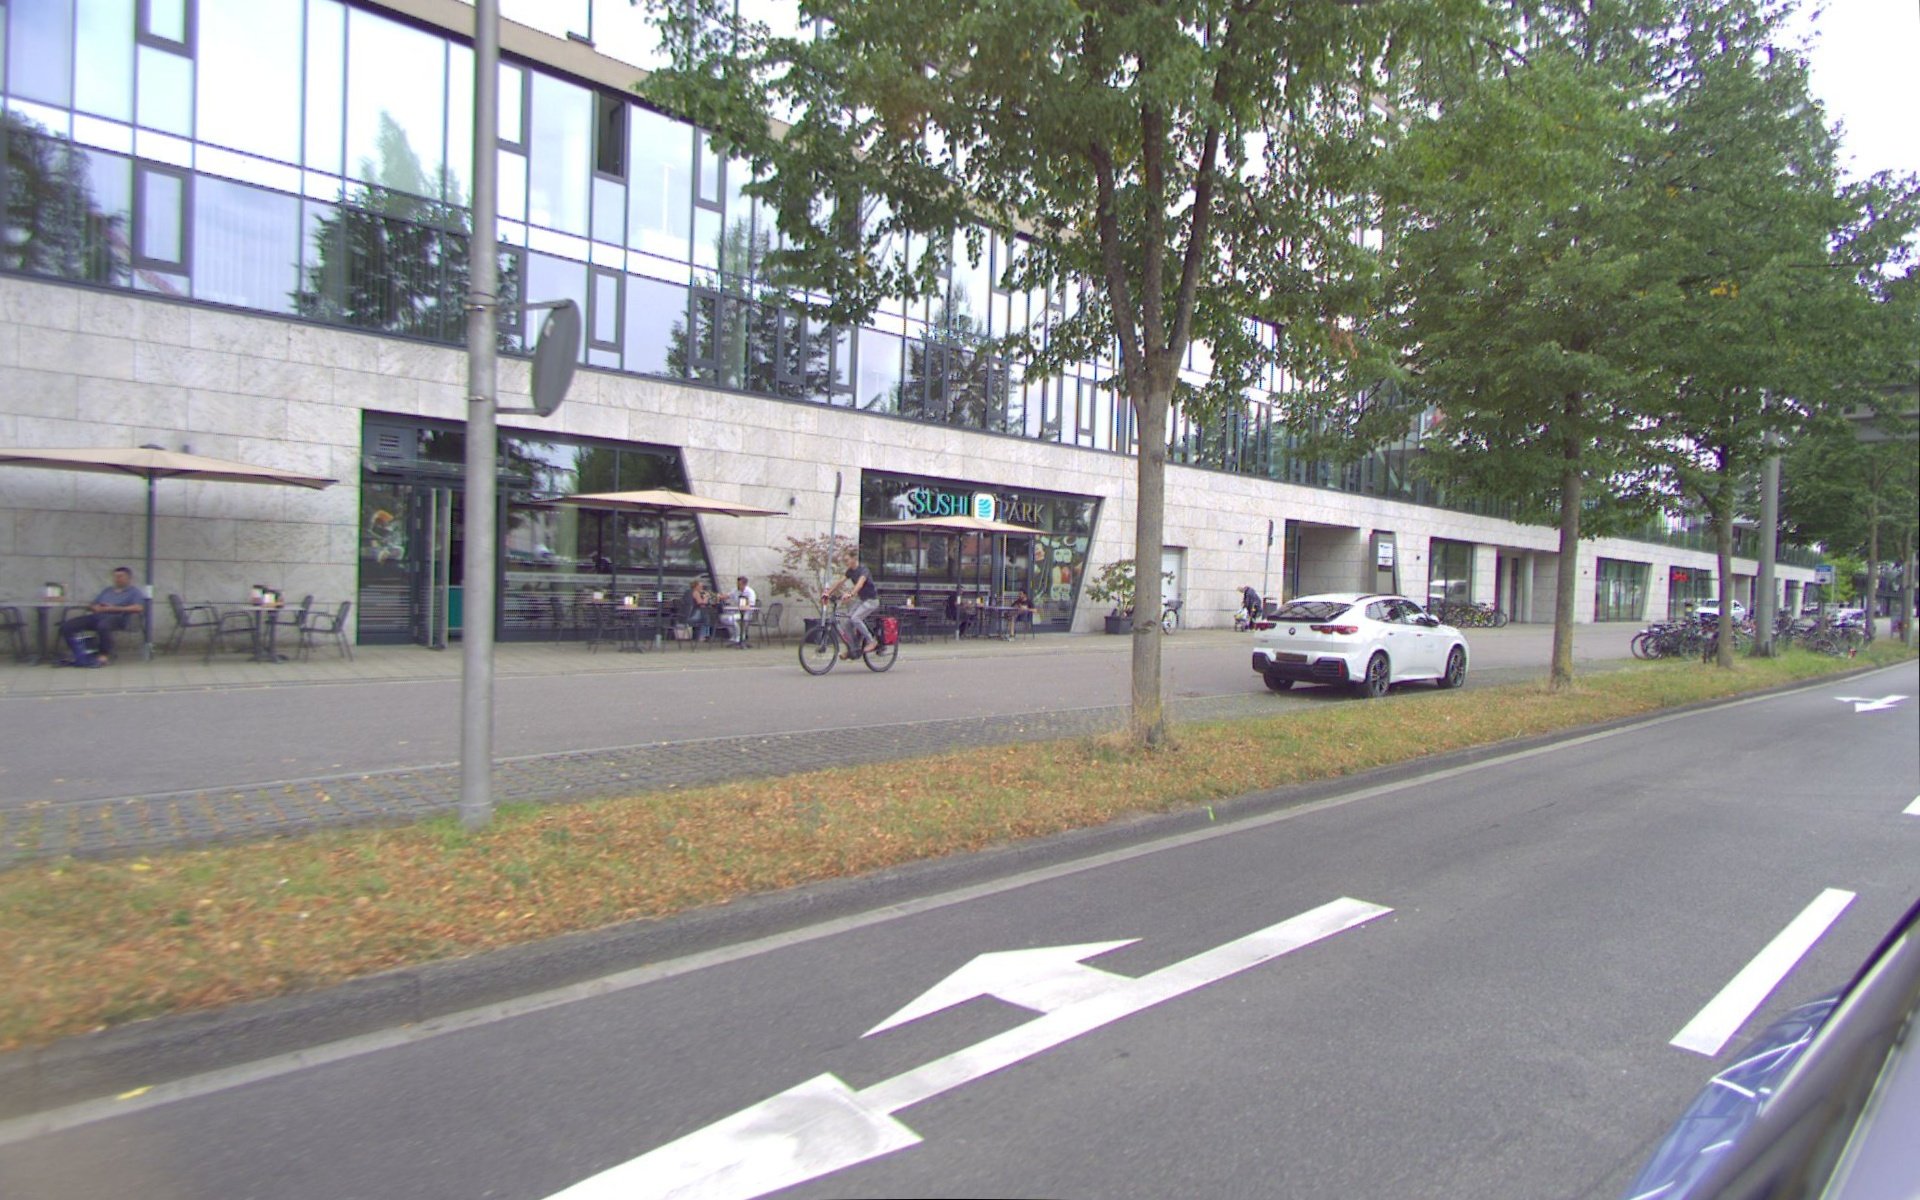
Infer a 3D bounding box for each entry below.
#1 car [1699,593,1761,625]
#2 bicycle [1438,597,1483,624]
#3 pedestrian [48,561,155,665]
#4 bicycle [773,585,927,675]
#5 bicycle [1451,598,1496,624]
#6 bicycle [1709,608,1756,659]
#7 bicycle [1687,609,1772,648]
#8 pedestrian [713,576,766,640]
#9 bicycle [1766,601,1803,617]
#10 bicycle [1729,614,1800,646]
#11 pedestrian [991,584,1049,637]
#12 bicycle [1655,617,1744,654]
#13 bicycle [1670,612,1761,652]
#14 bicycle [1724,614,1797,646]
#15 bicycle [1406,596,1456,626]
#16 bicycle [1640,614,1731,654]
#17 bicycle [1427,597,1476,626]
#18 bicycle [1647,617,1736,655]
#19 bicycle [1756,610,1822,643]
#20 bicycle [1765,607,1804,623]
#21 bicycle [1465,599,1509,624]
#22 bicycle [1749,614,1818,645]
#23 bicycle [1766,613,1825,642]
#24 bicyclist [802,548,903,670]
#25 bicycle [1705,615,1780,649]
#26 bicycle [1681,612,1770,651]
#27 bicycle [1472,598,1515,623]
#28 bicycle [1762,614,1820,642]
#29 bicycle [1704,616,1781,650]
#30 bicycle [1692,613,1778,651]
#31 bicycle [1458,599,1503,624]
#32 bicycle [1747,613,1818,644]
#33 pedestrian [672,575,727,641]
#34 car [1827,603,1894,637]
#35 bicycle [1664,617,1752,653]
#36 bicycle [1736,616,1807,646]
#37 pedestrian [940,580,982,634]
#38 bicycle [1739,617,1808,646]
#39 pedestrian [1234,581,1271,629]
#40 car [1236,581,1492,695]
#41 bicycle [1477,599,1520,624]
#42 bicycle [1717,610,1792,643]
[{"bbox_3d":[42.936,0.508,56.390,4.165,1.607,1.862,1,4,-41],"label":"car"},{"bbox_3d":[20.059,0.412,40.571,0.524,1.039,1.531,1,2,-43],"label":"bicycle"},{"bbox_3d":[-10.785,0.145,12.751,0.932,1.243,0.901,1,1,-36],"label":"pedestrian"},{"bbox_3d":[-1.680,0.432,15.731,2.229,1.250,0.904,1,4,-42],"label":"bicycle"},{"bbox_3d":[20.937,0.437,41.308,0.524,0.965,1.531,1,2,-43],"label":"bicycle"},{"bbox_3d":[17.991,0.766,23.559,0.709,1.130,2.170,-2,-2,41],"label":"bicycle"},{"bbox_3d":[22.262,0.823,29.303,1.927,1.079,0.535,-2,-2,42],"label":"bicycle"},{"bbox_3d":[-4.318,0.149,19.811,0.745,1.207,0.720,1,1,-39],"label":"pedestrian"},{"bbox_3d":[67.021,0.709,82.285,2.231,1.191,0.961,3,1,43],"label":"bicycle"},{"bbox_3d":[25.388,0.936,31.967,1.713,0.986,0.600,-2,-2,42],"label":"bicycle"},{"bbox_3d":[1.412,0.239,23.731,1.083,1.207,0.776,1,1,-25],"label":"pedestrian"},{"bbox_3d":[20.049,0.952,27.469,0.642,0.963,1.862,1,-2,-43],"label":"bicycle"},{"bbox_3d":[21.140,0.897,28.361,0.693,1.079,1.931,1,-2,-43],"label":"bicycle"},{"bbox_3d":[24.930,0.939,31.521,1.742,0.986,0.600,-2,-2,42],"label":"bicycle"},{"bbox_3d":[17.726,0.415,38.100,0.524,1.039,1.600,1,2,-43],"label":"bicycle"},{"bbox_3d":[19.011,0.883,26.544,0.564,1.008,1.862,1,-2,-43],"label":"bicycle"},{"bbox_3d":[19.071,0.428,39.315,0.524,1.039,1.600,1,2,-43],"label":"bicycle"},{"bbox_3d":[19.482,0.954,26.985,0.493,0.963,1.862,1,-2,-43],"label":"bicycle"},{"bbox_3d":[28.420,0.883,34.711,0.516,1.104,1.669,1,-1,-43],"label":"bicycle"},{"bbox_3d":[67.785,1.190,83.239,2.418,1.191,1.184,3,1,43],"label":"bicycle"},{"bbox_3d":[21.982,0.478,42.247,0.524,0.965,1.531,1,2,-43],"label":"bicycle"},{"bbox_3d":[27.801,0.988,34.178,1.771,1.025,0.601,-1,-1,42],"label":"bicycle"},{"bbox_3d":[29.002,0.952,35.141,0.476,0.965,1.530,1,-1,-43],"label":"bicycle"},{"bbox_3d":[-1.680,0.123,15.732,1.110,1.758,0.999,1,4,-41],"label":"bicyclist"},{"bbox_3d":[23.594,0.969,30.535,1.742,0.986,0.600,-2,-2,42],"label":"bicycle"},{"bbox_3d":[21.751,0.895,28.794,0.631,1.079,1.931,1,-2,-43],"label":"bicycle"},{"bbox_3d":[22.576,0.441,42.841,0.524,0.965,1.531,1,2,-43],"label":"bicycle"},{"bbox_3d":[29.405,0.987,35.838,0.543,0.965,1.530,1,-1,-43],"label":"bicycle"},{"bbox_3d":[23.215,0.970,30.037,1.742,0.986,0.600,-2,-2,42],"label":"bicycle"},{"bbox_3d":[22.700,0.926,29.665,1.927,1.079,0.535,-2,-2,42],"label":"bicycle"},{"bbox_3d":[21.527,0.479,41.864,0.524,0.965,1.531,1,2,-43],"label":"bicycle"},{"bbox_3d":[27.348,0.952,33.660,1.770,1.025,0.601,-2,-2,42],"label":"bicycle"},{"bbox_3d":[-4.956,0.146,19.271,0.745,1.207,0.720,1,1,-41],"label":"pedestrian"},{"bbox_3d":[41.133,0.870,46.193,4.109,1.439,1.764,1,1,-41],"label":"car"},{"bbox_3d":[20.620,0.950,27.922,0.602,0.963,1.862,1,-2,-43],"label":"bicycle"},{"bbox_3d":[25.919,0.984,32.342,1.713,0.917,0.580,-2,-2,42],"label":"bicycle"},{"bbox_3d":[0.020,0.166,23.371,0.743,1.207,0.723,1,1,-18],"label":"pedestrian"},{"bbox_3d":[26.347,1.005,32.801,1.713,0.917,0.580,-2,-2,42],"label":"bicycle"},{"bbox_3d":[8.955,0.138,30.971,0.707,1.424,0.759,1,1,-33],"label":"pedestrian"},{"bbox_3d":[6.634,0.542,16.383,4.512,1.571,1.942,1,1,-40],"label":"car"},{"bbox_3d":[23.035,0.486,43.283,0.524,0.965,1.531,1,2,-43],"label":"bicycle"},{"bbox_3d":[24.307,0.823,30.982,1.742,0.986,0.600,-2,-2,42],"label":"bicycle"}]
